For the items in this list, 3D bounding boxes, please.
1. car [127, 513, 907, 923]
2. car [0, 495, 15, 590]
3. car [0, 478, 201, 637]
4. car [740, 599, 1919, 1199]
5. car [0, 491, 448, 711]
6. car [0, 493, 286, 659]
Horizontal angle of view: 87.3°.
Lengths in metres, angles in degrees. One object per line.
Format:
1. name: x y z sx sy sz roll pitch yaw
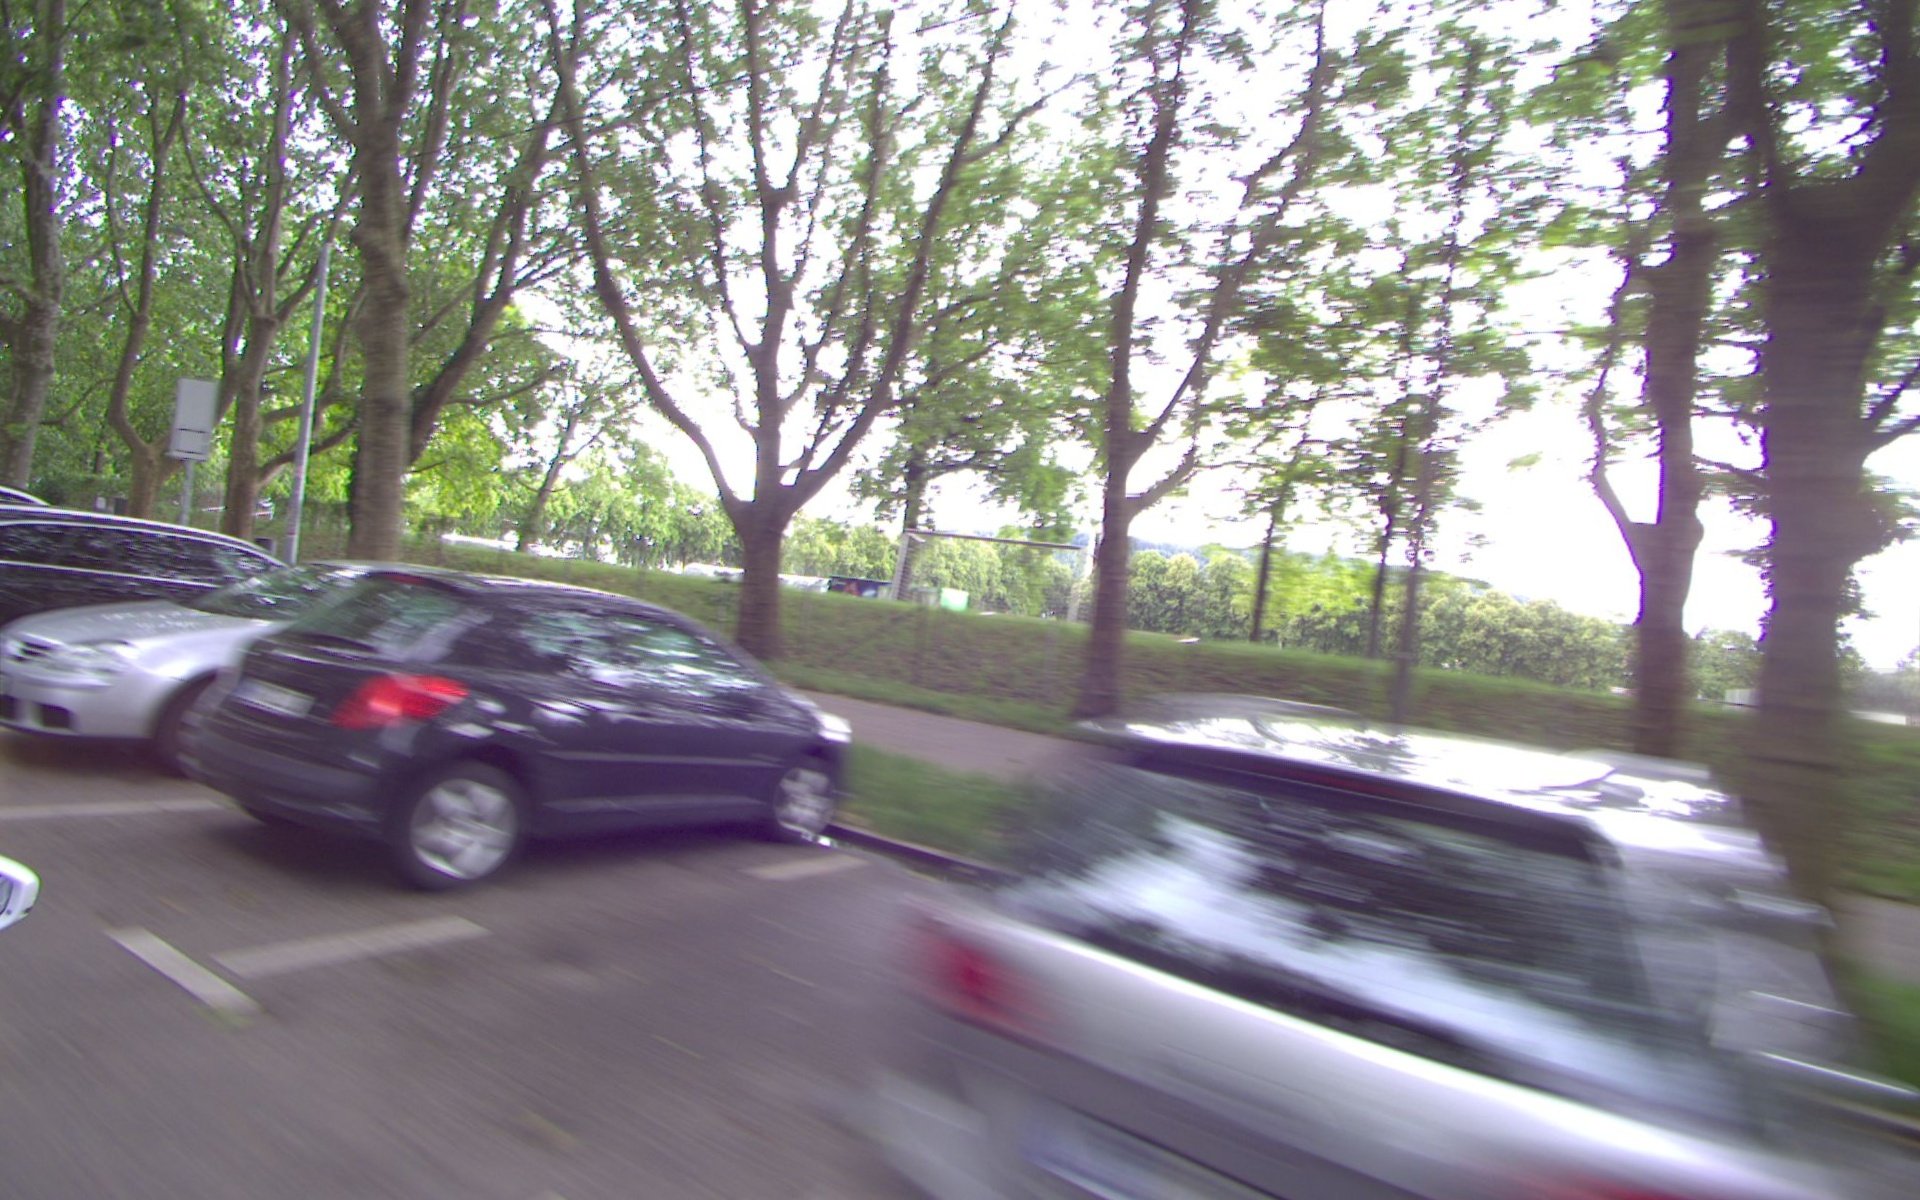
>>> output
1. car: -2.240 0.643 6.258 1.784 1.543 4.055 7 -2 29
2. car: -16.990 -1.202 14.872 1.665 1.503 3.997 7 -2 29
3. car: -12.399 -0.683 12.393 1.770 1.775 4.396 7 -2 29
4. car: 1.427 1.076 3.162 1.675 1.444 4.131 7 -4 33
5. car: -7.031 0.026 8.511 1.674 1.543 4.514 7 -2 29
6. car: -10.309 -0.338 11.234 1.671 1.575 4.196 7 -2 29
